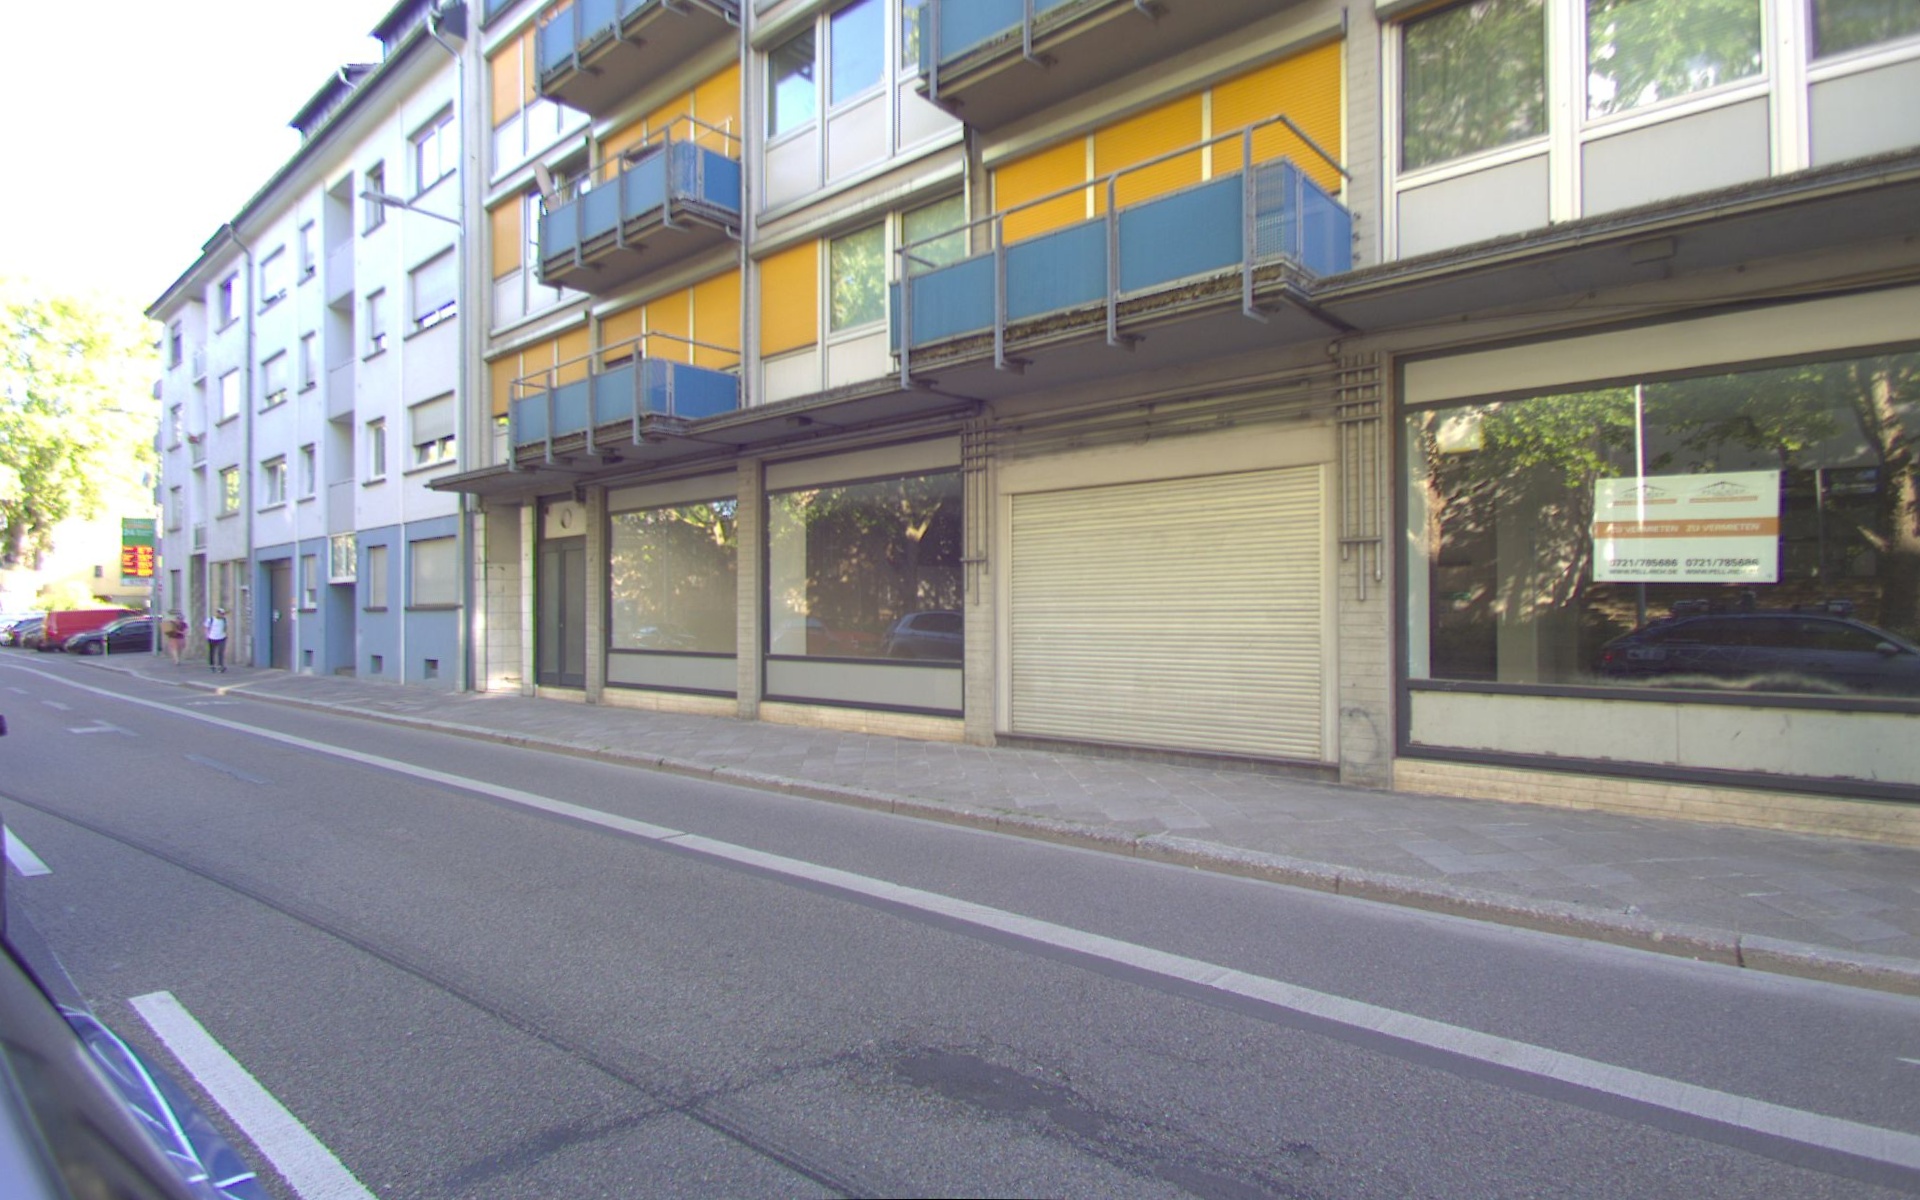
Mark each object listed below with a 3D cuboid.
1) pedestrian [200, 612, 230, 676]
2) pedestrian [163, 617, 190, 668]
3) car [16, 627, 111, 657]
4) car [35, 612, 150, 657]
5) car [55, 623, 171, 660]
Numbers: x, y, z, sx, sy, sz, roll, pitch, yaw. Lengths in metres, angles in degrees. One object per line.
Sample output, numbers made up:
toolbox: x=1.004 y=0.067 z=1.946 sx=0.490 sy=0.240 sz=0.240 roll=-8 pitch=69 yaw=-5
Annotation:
pedestrian: x=-20.629 y=1.207 z=28.022 sx=0.343 sy=1.739 sz=0.562 roll=-2 pitch=0 yaw=41
pedestrian: x=-23.915 y=1.298 z=30.884 sx=0.343 sy=1.529 sz=0.562 roll=-2 pitch=0 yaw=41
car: x=-43.030 y=1.996 z=48.615 sx=1.294 sy=1.258 sz=3.283 roll=-1 pitch=0 yaw=41
car: x=-40.571 y=1.578 z=47.373 sx=1.635 sy=1.937 sz=3.878 roll=-1 pitch=0 yaw=41
car: x=-36.665 y=1.765 z=43.869 sx=1.635 sy=1.422 sz=3.623 roll=-1 pitch=0 yaw=41
